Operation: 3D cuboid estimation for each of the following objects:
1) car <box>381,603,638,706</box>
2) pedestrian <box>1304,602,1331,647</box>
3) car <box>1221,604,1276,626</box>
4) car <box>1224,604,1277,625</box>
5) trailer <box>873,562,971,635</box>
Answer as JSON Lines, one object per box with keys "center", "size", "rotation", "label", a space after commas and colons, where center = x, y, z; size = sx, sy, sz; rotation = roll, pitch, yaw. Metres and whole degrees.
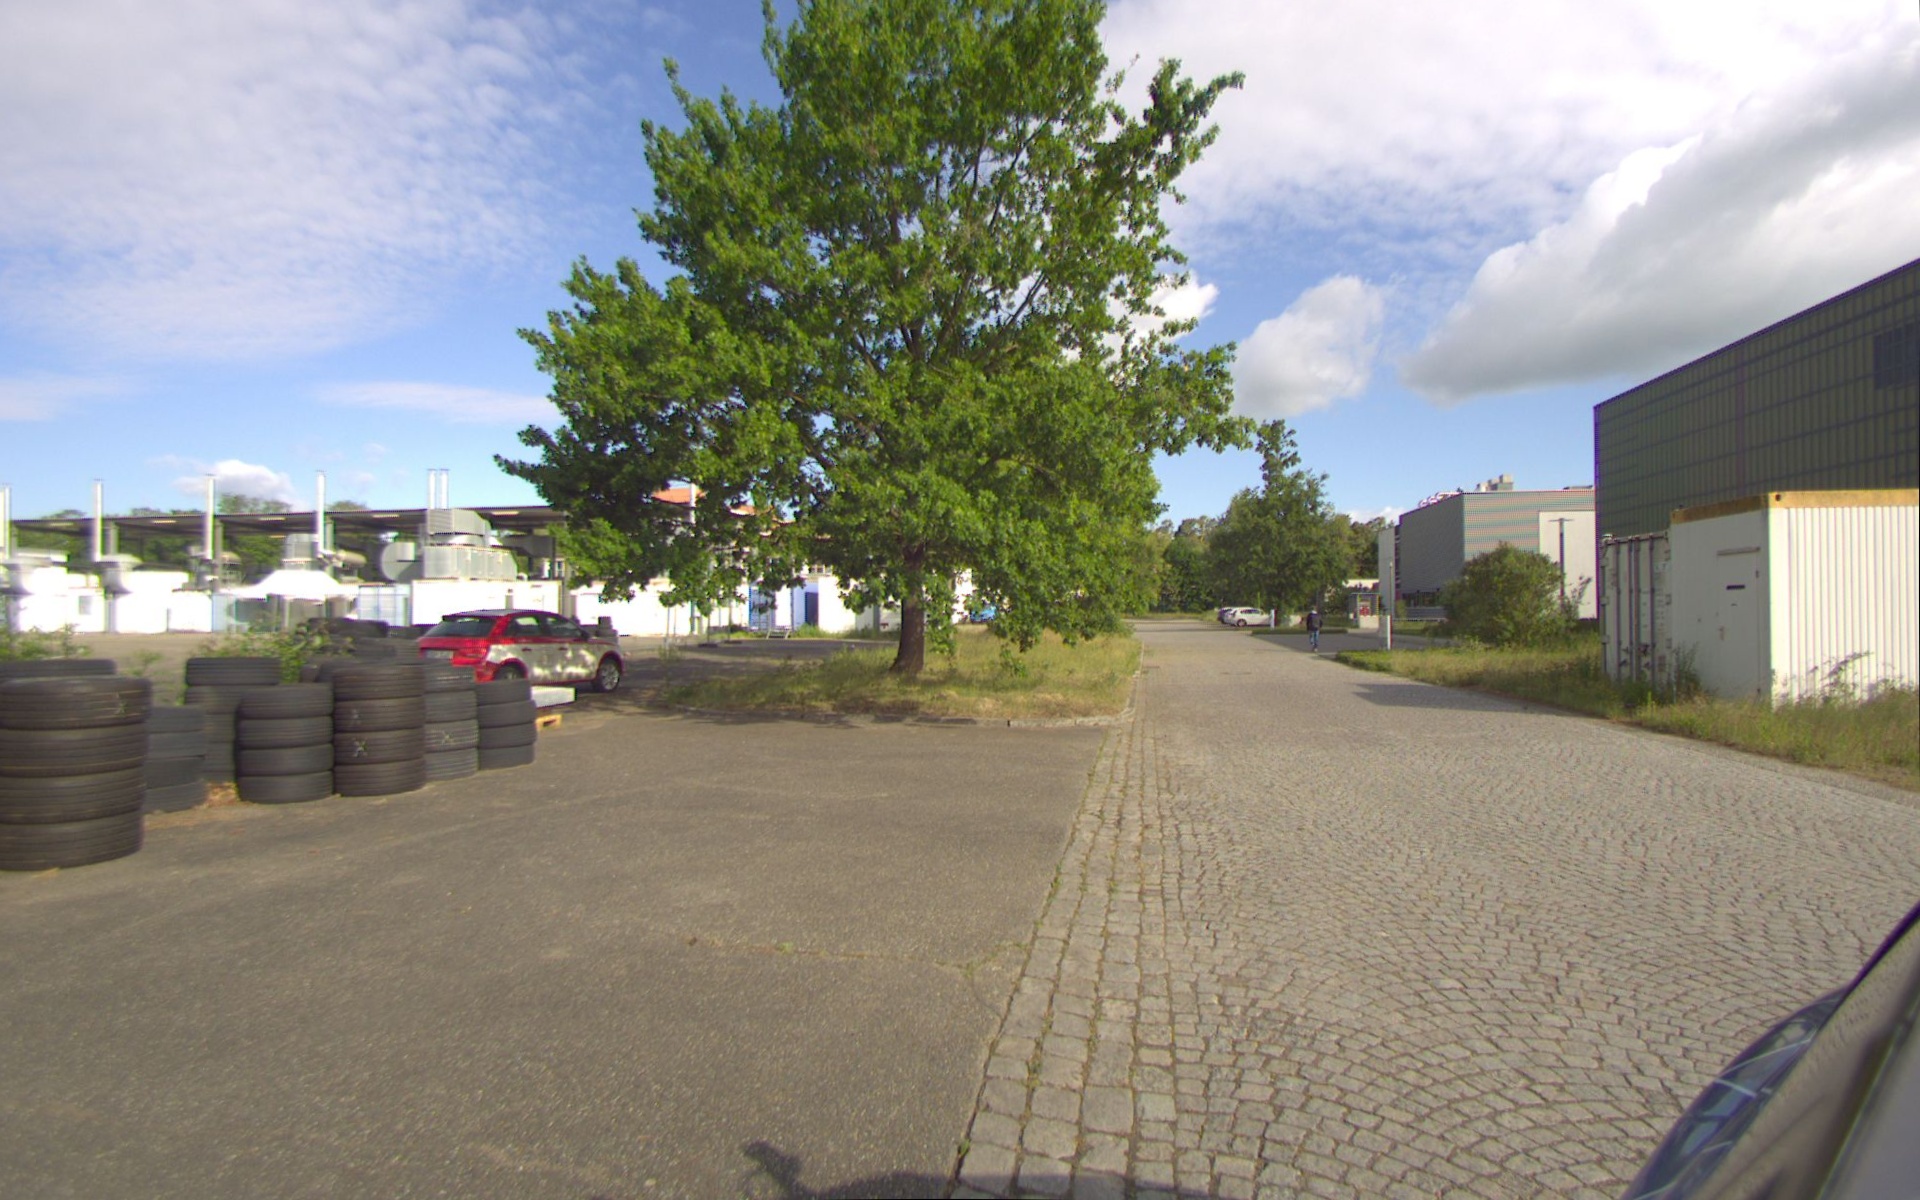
{"center": [-7.231, 0.800, 16.725], "size": [1.704, 1.483, 3.978], "rotation": [0, -1, 17], "label": "car"}
{"center": [12.728, 0.860, 35.995], "size": [0.857, 1.579, 1.020], "rotation": [-1, -1, 22], "label": "pedestrian"}
{"center": [22.095, 1.126, 77.589], "size": [3.945, 1.664, 1.989], "rotation": [0, -1, 17], "label": "car"}
{"center": [22.989, 1.122, 80.159], "size": [3.945, 1.664, 1.989], "rotation": [0, -1, 17], "label": "car"}
{"center": [-1.831, -0.038, 54.388], "size": [2.882, 3.515, 9.862], "rotation": [0, 0, 12], "label": "trailer"}
